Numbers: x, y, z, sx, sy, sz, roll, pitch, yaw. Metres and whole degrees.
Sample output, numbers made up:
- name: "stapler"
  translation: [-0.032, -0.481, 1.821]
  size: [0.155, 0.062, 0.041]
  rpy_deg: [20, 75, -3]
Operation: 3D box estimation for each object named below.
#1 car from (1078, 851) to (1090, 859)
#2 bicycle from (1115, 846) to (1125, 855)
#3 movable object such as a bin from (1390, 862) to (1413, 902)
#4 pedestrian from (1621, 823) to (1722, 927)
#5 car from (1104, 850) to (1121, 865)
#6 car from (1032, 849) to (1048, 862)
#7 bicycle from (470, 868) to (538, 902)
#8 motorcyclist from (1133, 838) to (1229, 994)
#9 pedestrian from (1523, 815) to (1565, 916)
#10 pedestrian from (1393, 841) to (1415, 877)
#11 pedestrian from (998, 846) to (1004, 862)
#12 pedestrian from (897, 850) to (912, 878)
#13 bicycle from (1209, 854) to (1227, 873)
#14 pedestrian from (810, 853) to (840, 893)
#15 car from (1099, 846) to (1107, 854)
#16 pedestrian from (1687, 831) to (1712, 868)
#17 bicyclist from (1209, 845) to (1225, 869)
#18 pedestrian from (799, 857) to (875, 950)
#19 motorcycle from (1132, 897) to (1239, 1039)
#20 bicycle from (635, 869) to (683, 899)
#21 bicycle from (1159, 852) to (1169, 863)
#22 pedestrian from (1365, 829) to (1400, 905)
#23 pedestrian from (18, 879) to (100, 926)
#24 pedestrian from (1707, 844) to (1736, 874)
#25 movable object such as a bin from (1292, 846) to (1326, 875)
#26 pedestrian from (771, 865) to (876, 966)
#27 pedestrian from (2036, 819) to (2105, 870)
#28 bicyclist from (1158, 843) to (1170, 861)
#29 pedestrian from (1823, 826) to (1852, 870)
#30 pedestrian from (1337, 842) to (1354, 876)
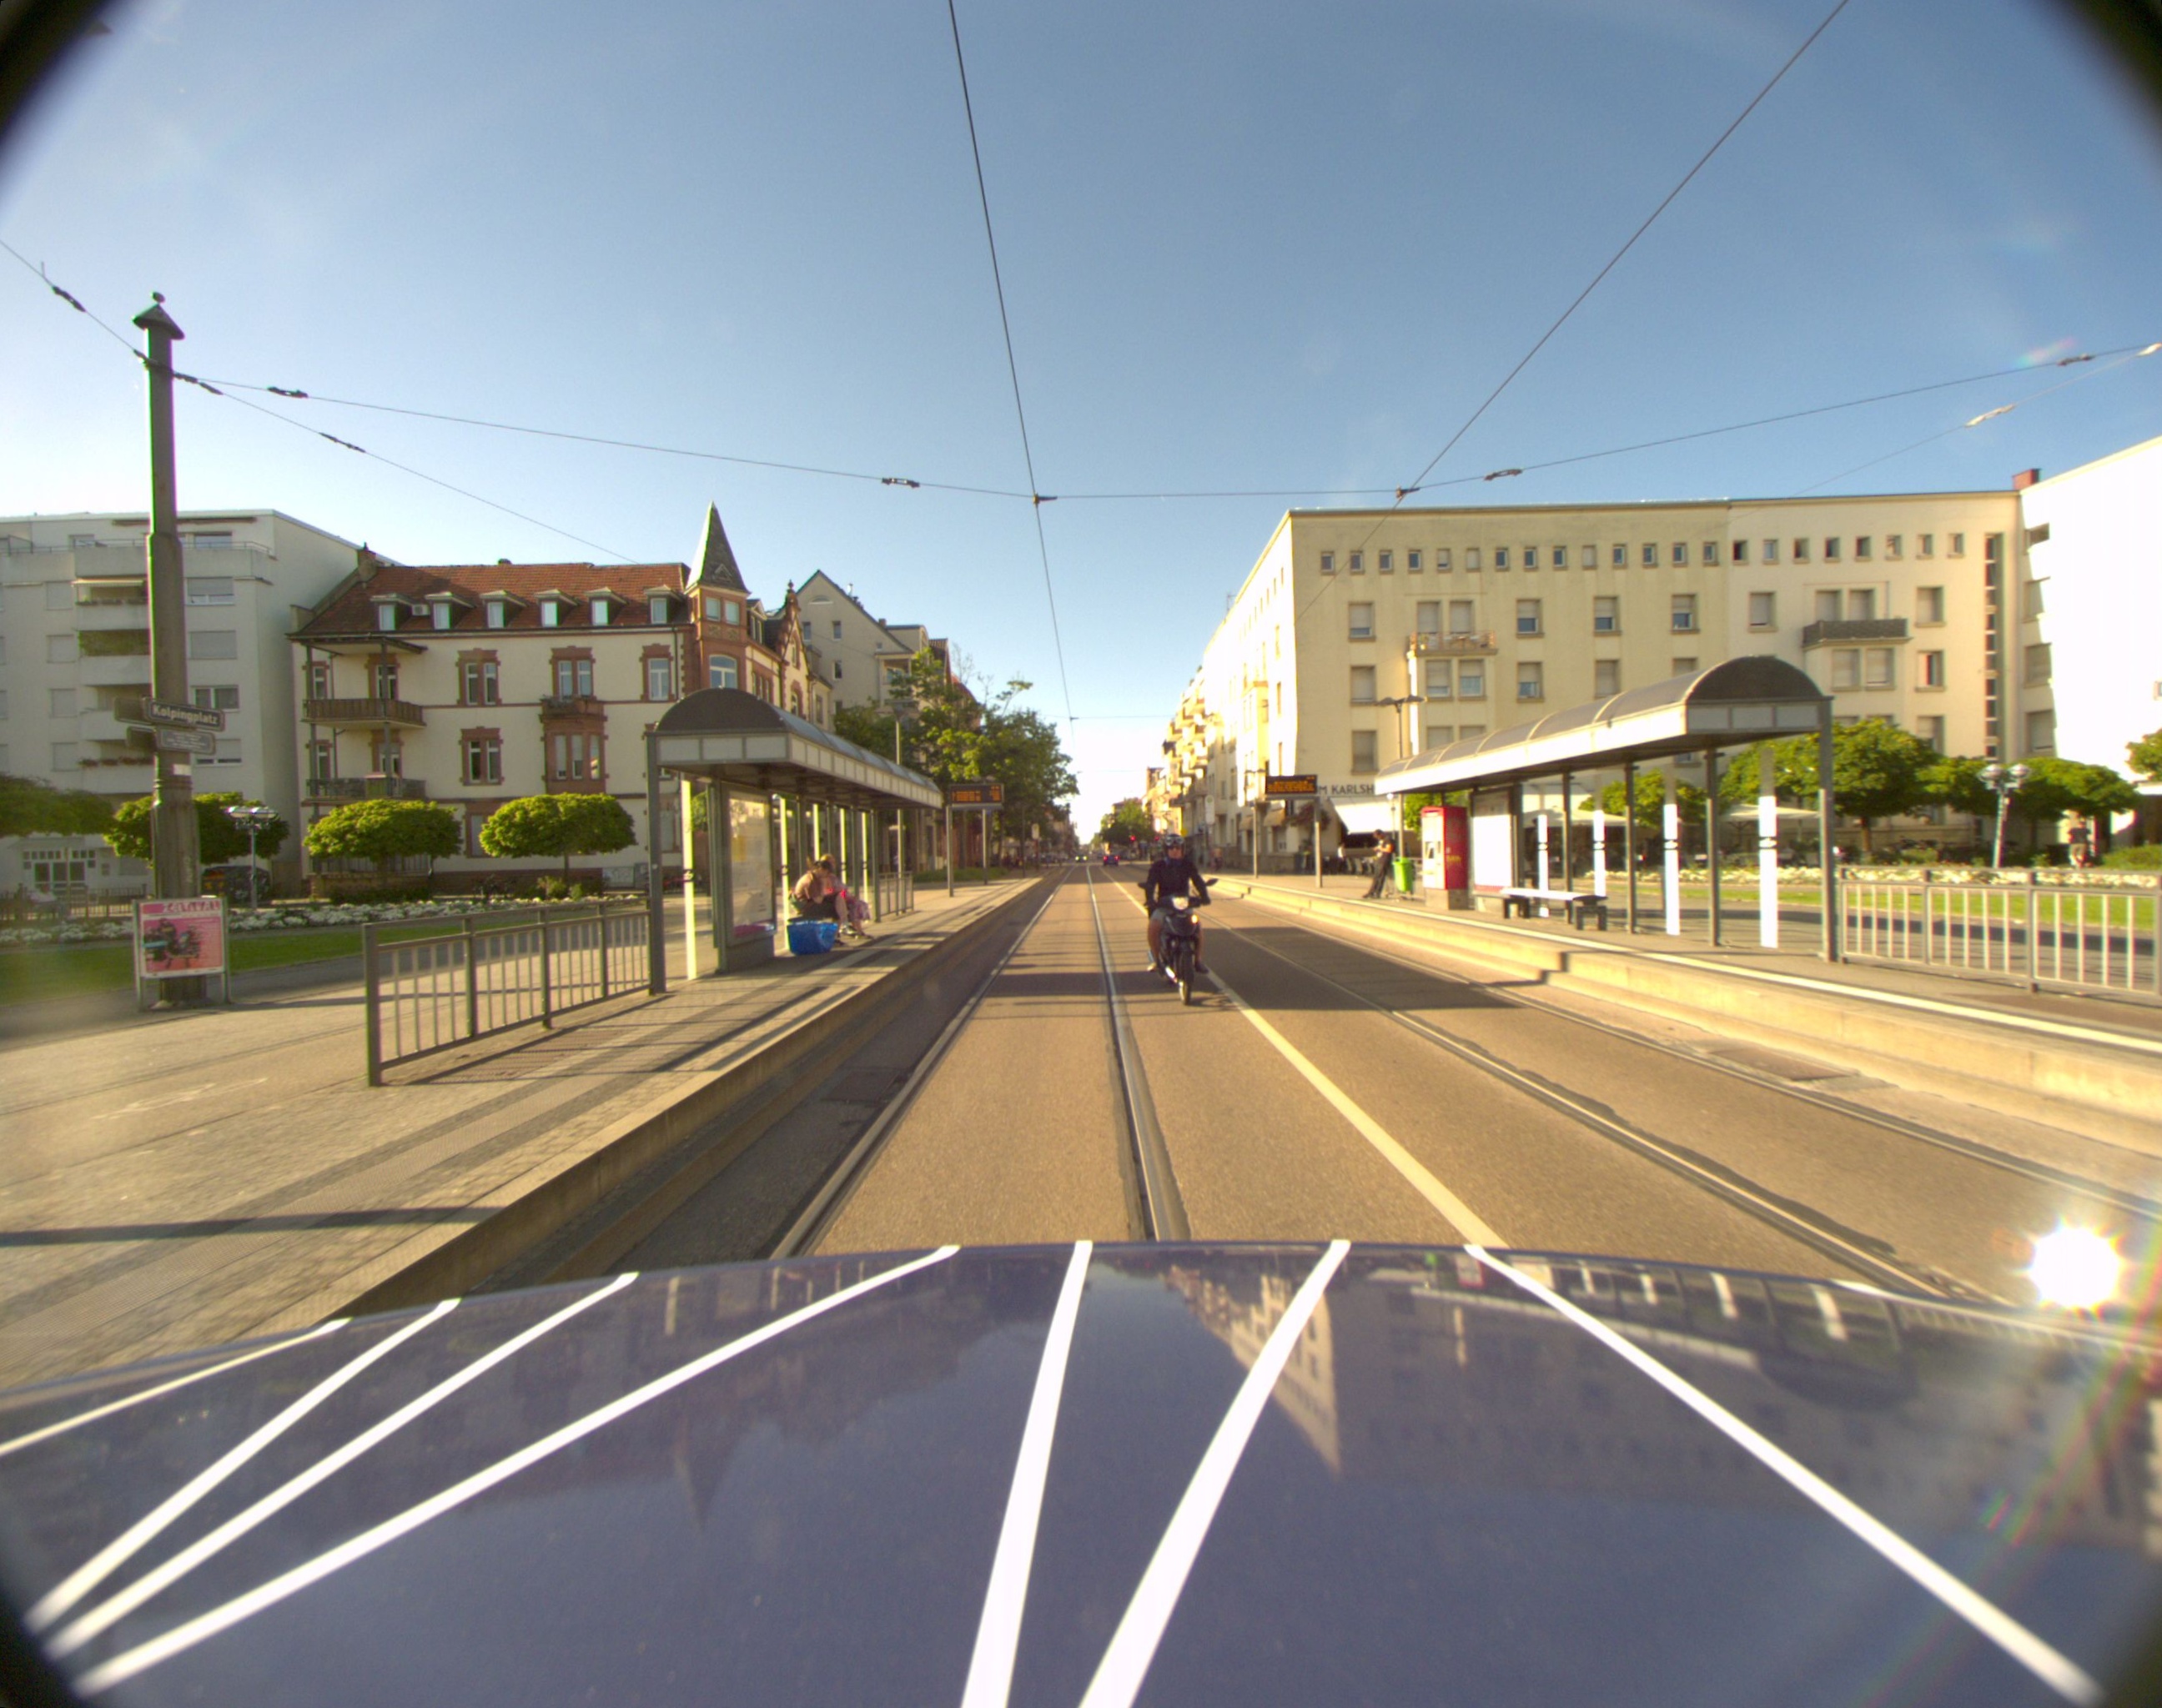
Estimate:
- name: "car"
  translation: [0.501, 0.118, 125.025]
  size: [1.998, 1.318, 3.863]
  rpy_deg: [-1, 0, 1]
- name: "bicycle"
  translation: [7.864, -0.634, 152.355]
  size: [1.229, 1.719, 3.103]
  rpy_deg: [-1, 1, -13]
- name: "movable object such as a bin"
  translation: [6.982, 0.601, 16.570]
  size: [0.337, 0.855, 0.416]
  rpy_deg: [-1, 1, 3]
- name: "pedestrian"
  translation: [9.880, 0.336, 12.756]
  size: [0.995, 1.670, 0.975]
  rpy_deg: [-1, 1, 9]
- name: "car"
  translation: [3.459, 0.382, 84.645]
  size: [1.671, 1.479, 3.999]
  rpy_deg: [-2, 0, 0]
- name: "car"
  translation: [-6.667, 0.184, 123.277]
  size: [1.998, 2.002, 4.001]
  rpy_deg: [-1, 0, 4]
- name: "bicycle"
  translation: [-25.614, 1.341, 33.806]
  size: [0.746, 1.364, 2.914]
  rpy_deg: [-1, 0, 1]
- name: "motorcyclist"
  translation: [0.986, 0.581, 7.757]
  size: [0.821, 1.466, 1.114]
  rpy_deg: [-1, 1, 1]
- name: "pedestrian"
  translation: [8.618, 0.205, 14.150]
  size: [0.429, 1.848, 0.526]
  rpy_deg: [1, 1, 4]
- name: "pedestrian"
  translation: [15.134, 0.251, 35.617]
  size: [0.678, 1.634, 0.672]
  rpy_deg: [1, -3, -38]
- name: "pedestrian"
  translation: [-10.121, 0.050, 95.980]
  size: [0.653, 2.002, 0.559]
  rpy_deg: [-1, 1, 3]
- name: "pedestrian"
  translation: [-11.045, 0.626, 47.555]
  size: [0.742, 1.725, 0.877]
  rpy_deg: [-1, 1, -6]
- name: "bicycle"
  translation: [8.491, 0.567, 47.178]
  size: [0.730, 1.107, 1.976]
  rpy_deg: [-2, 1, 0]
- name: "pedestrian"
  translation: [-11.005, 0.790, 32.683]
  size: [1.070, 1.659, 0.956]
  rpy_deg: [-1, 1, -12]
- name: "car"
  translation: [5.789, -1.015, 201.317]
  size: [1.877, 2.105, 4.000]
  rpy_deg: [-1, 1, 2]
- name: "pedestrian"
  translation: [29.433, -0.201, 36.156]
  size: [0.675, 1.726, 0.683]
  rpy_deg: [1, -2, -27]
- name: "bicyclist"
  translation: [8.479, 0.166, 47.356]
  size: [0.829, 1.447, 0.877]
  rpy_deg: [-2, 1, 0]
- name: "pedestrian"
  translation: [-3.762, 0.754, 11.763]
  size: [0.861, 1.327, 0.623]
  rpy_deg: [-4, 1, 1]
- name: "motorcycle"
  translation: [1.003, 1.073, 7.902]
  size: [0.799, 1.090, 2.428]
  rpy_deg: [-1, 1, 1]
- name: "bicycle"
  translation: [-17.851, 1.231, 32.205]
  size: [0.790, 1.062, 2.804]
  rpy_deg: [-1, 2, -8]
- name: "bicycle"
  translation: [8.248, 0.336, 75.567]
  size: [0.713, 1.119, 2.035]
  rpy_deg: [-1, 1, -3]
- name: "pedestrian"
  translation: [6.939, 0.293, 17.495]
  size: [0.550, 1.708, 0.607]
  rpy_deg: [1, 1, 3]
- name: "pedestrian"
  translation: [-32.132, 1.524, 23.905]
  size: [1.525, 1.403, 0.936]
  rpy_deg: [-1, 1, 11]
- name: "pedestrian"
  translation: [27.168, 0.232, 32.229]
  size: [0.644, 1.262, 0.674]
  rpy_deg: [0, -2, -4]
- name: "movable object such as a bin"
  translation: [11.395, 0.305, 37.961]
  size: [1.318, 1.392, 1.128]
  rpy_deg: [-1, 1, -1]
- name: "pedestrian"
  translation: [-3.477, 0.806, 10.354]
  size: [1.001, 1.218, 0.923]
  rpy_deg: [-4, 1, 1]
- name: "pedestrian"
  translation: [35.638, -0.333, 27.379]
  size: [1.177, 1.777, 1.080]
  rpy_deg: [-1, 1, -8]
- name: "bicyclist"
  translation: [8.241, -0.214, 75.536]
  size: [1.006, 1.783, 1.095]
  rpy_deg: [-1, 1, -3]
- name: "pedestrian"
  translation: [30.431, -0.210, 30.570]
  size: [0.675, 1.726, 0.718]
  rpy_deg: [1, -2, -39]
- name: "pedestrian"
  translation: [12.926, 0.236, 37.174]
  size: [0.672, 1.634, 0.752]
  rpy_deg: [-1, -2, 28]
